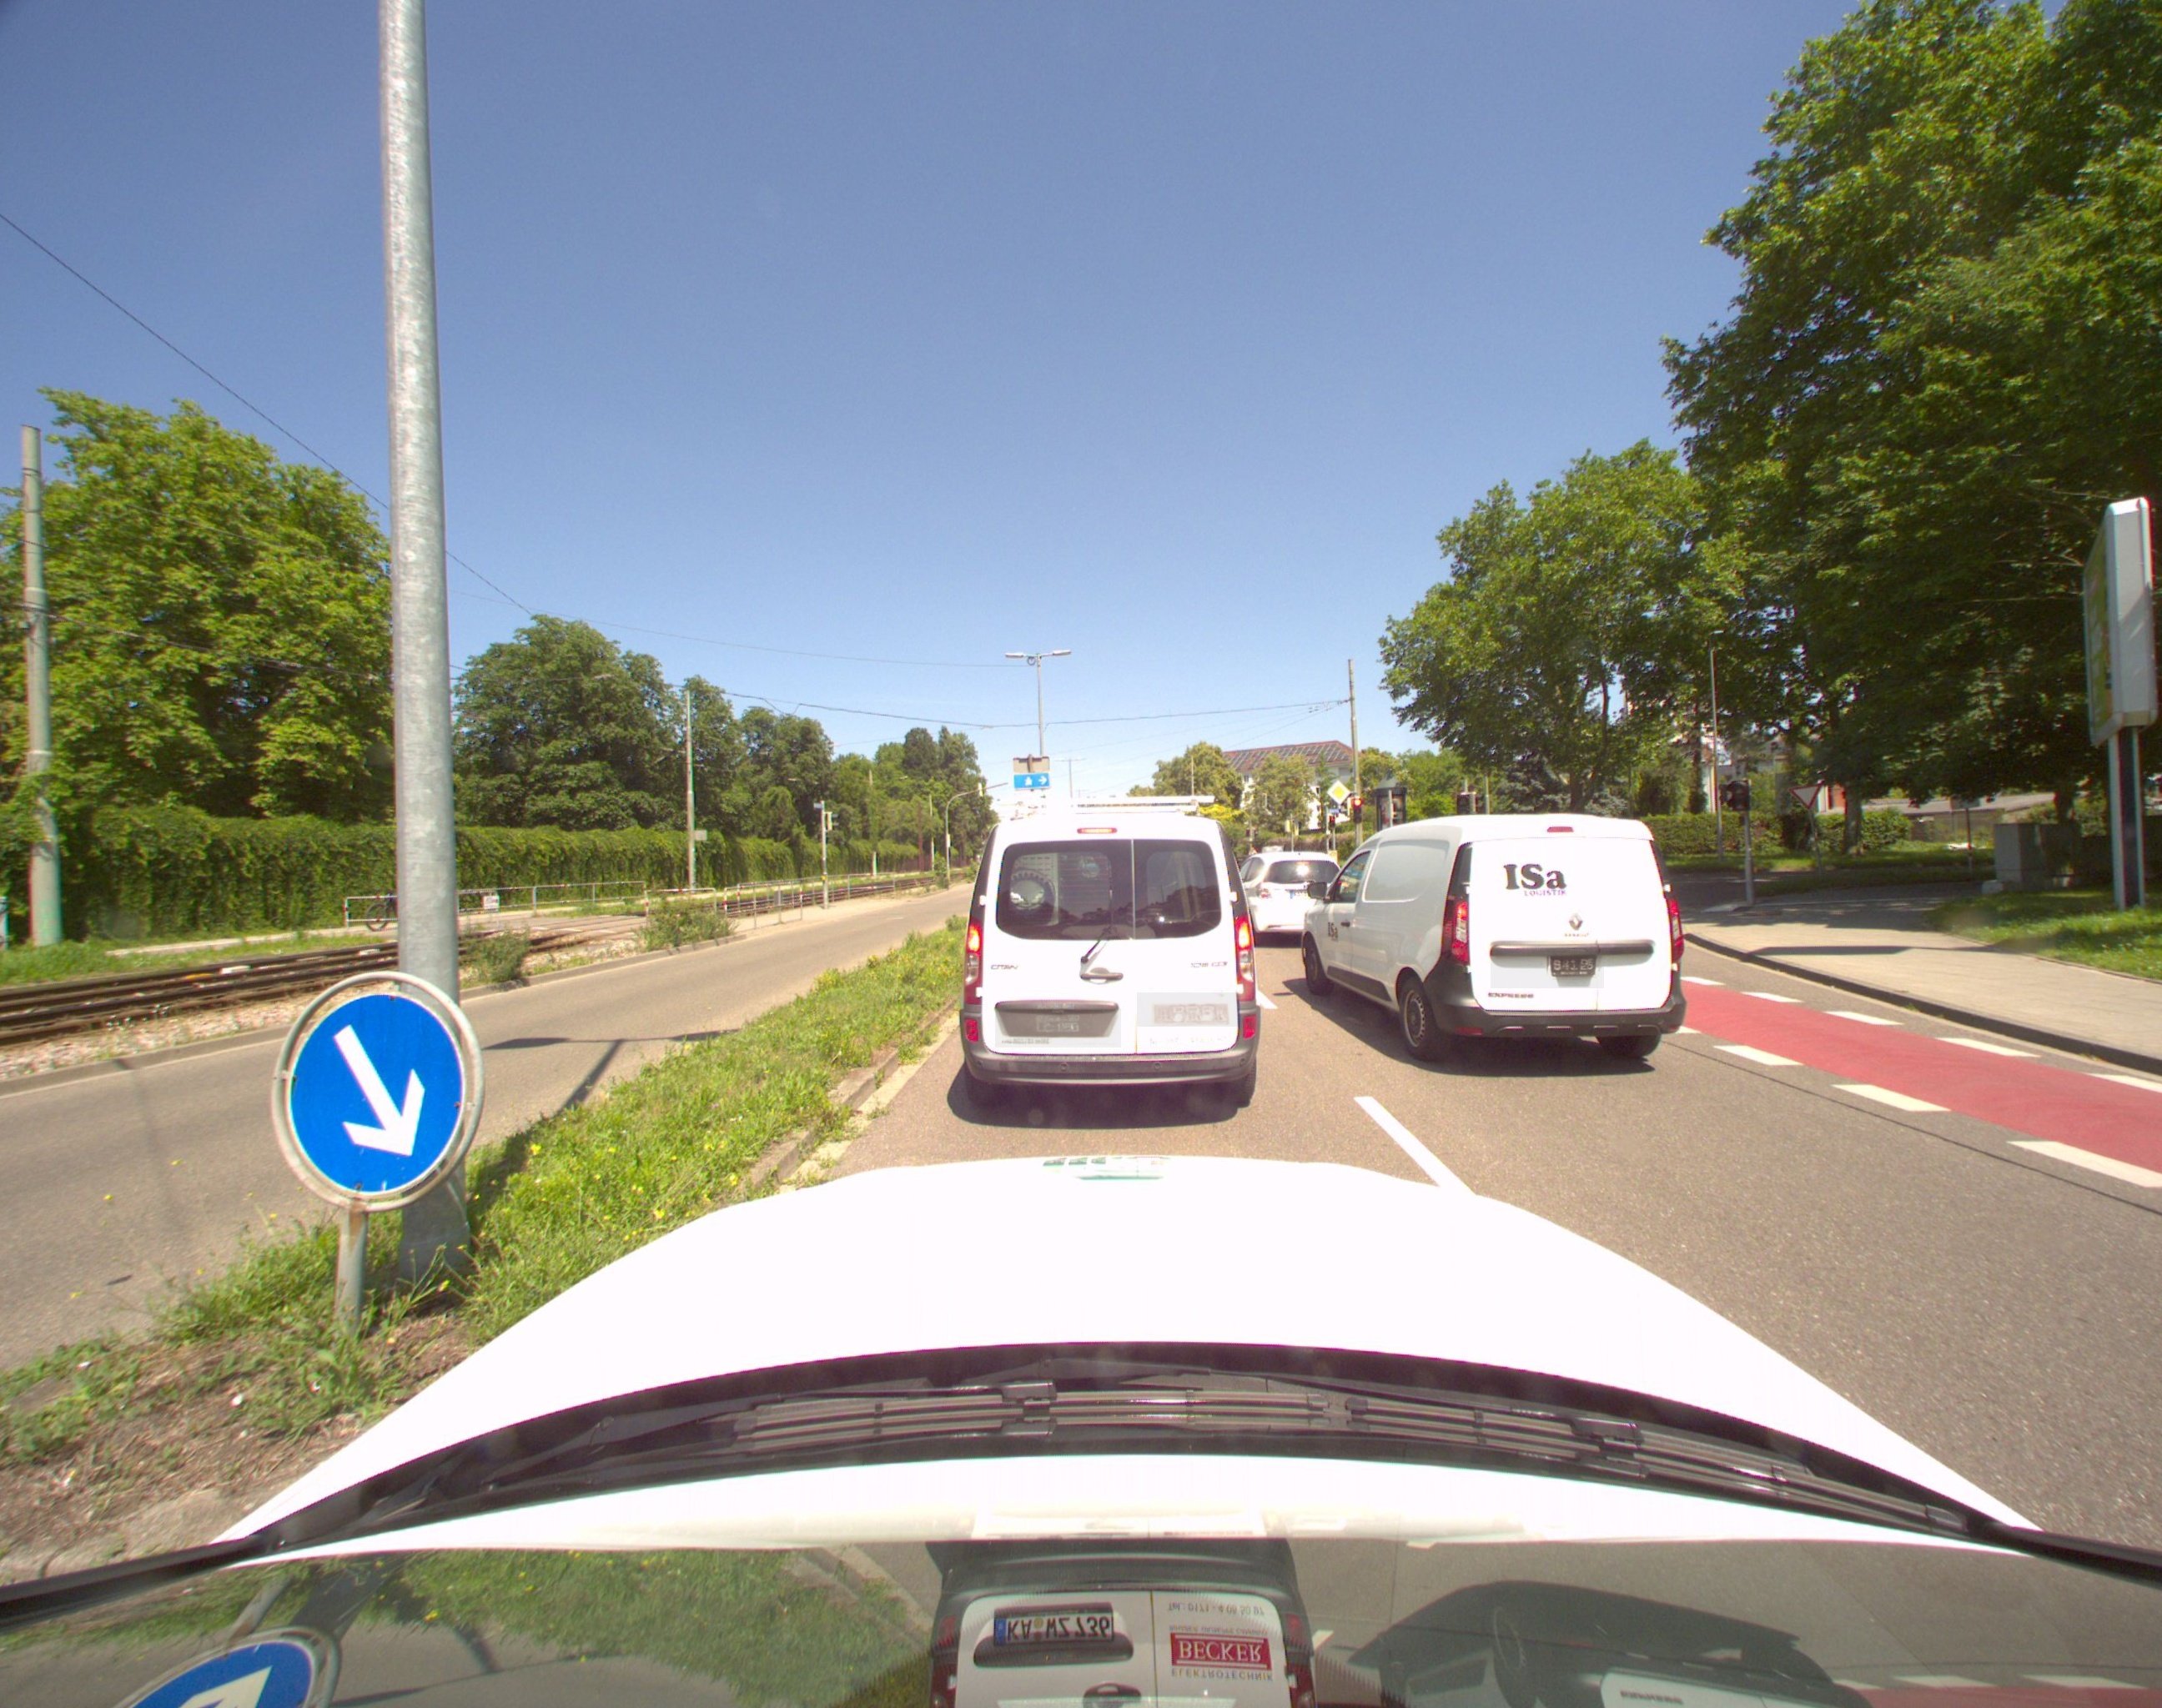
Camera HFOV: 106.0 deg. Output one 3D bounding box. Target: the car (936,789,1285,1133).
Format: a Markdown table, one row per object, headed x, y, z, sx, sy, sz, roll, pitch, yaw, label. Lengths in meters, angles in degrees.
| x | y | z | sx | sy | sz | roll | pitch | yaw | label |
| --- | --- | --- | --- | --- | --- | --- | --- | --- | --- |
| 0.199 | 0.578 | 6.313 | 1.860 | 1.836 | 3.849 | -1 | 0 | 1 | car |

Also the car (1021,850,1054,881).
| x | y | z | sx | sy | sz | roll | pitch | yaw | label |
| --- | --- | --- | --- | --- | --- | --- | --- | --- | --- |
| -3.073 | 0.772 | 57.017 | 1.992 | 2.013 | 3.990 | -2 | 0 | -7 | car |

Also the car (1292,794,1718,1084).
| x | y | z | sx | sy | sz | roll | pitch | yaw | label |
| --- | --- | --- | --- | --- | --- | --- | --- | --- | --- |
| 3.246 | 0.545 | 7.237 | 1.704 | 1.830 | 4.013 | -1 | 0 | 0 | car |

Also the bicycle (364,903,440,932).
| x | y | z | sx | sy | sz | roll | pitch | yaw | label |
| --- | --- | --- | --- | --- | --- | --- | --- | --- | --- |
| -18.607 | 1.729 | 22.353 | 0.559 | 0.647 | 1.721 | -2 | 0 | 3 | bicycle |

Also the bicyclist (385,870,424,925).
| x | y | z | sx | sy | sz | roll | pitch | yaw | label |
| --- | --- | --- | --- | --- | --- | --- | --- | --- | --- |
| -18.617 | 1.184 | 22.408 | 0.555 | 1.478 | 0.562 | -2 | 0 | 2 | bicyclist |

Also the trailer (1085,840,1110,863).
| x | y | z | sx | sy | sz | roll | pitch | yaw | label |
| --- | --- | --- | --- | --- | --- | --- | --- | --- | --- |
| 2.967 | -0.496 | 151.738 | 3.523 | 4.050 | 8.960 | -2 | 0 | -5 | trailer |

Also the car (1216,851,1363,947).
| x | y | z | sx | sy | sz | roll | pitch | yaw | label |
| --- | --- | --- | --- | --- | --- | --- | --- | --- | --- |
| 3.584 | 0.697 | 14.703 | 1.749 | 1.486 | 4.002 | 0 | 0 | 2 | car |

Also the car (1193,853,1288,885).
| x | y | z | sx | sy | sz | roll | pitch | yaw | label |
| --- | --- | --- | --- | --- | --- | --- | --- | --- | --- |
| 7.226 | 0.689 | 37.010 | 3.834 | 1.311 | 1.708 | -3 | 0 | 33 | car |

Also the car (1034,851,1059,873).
| x | y | z | sx | sy | sz | roll | pitch | yaw | label |
| --- | --- | --- | --- | --- | --- | --- | --- | --- | --- |
| -3.262 | 0.738 | 76.515 | 1.992 | 2.013 | 3.990 | -2 | 0 | -7 | car |

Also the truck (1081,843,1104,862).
| x | y | z | sx | sy | sz | roll | pitch | yaw | label |
| --- | --- | --- | --- | --- | --- | --- | --- | --- | --- |
| 2.206 | -0.267 | 160.571 | 3.570 | 3.632 | 8.793 | -2 | 0 | -5 | truck |
